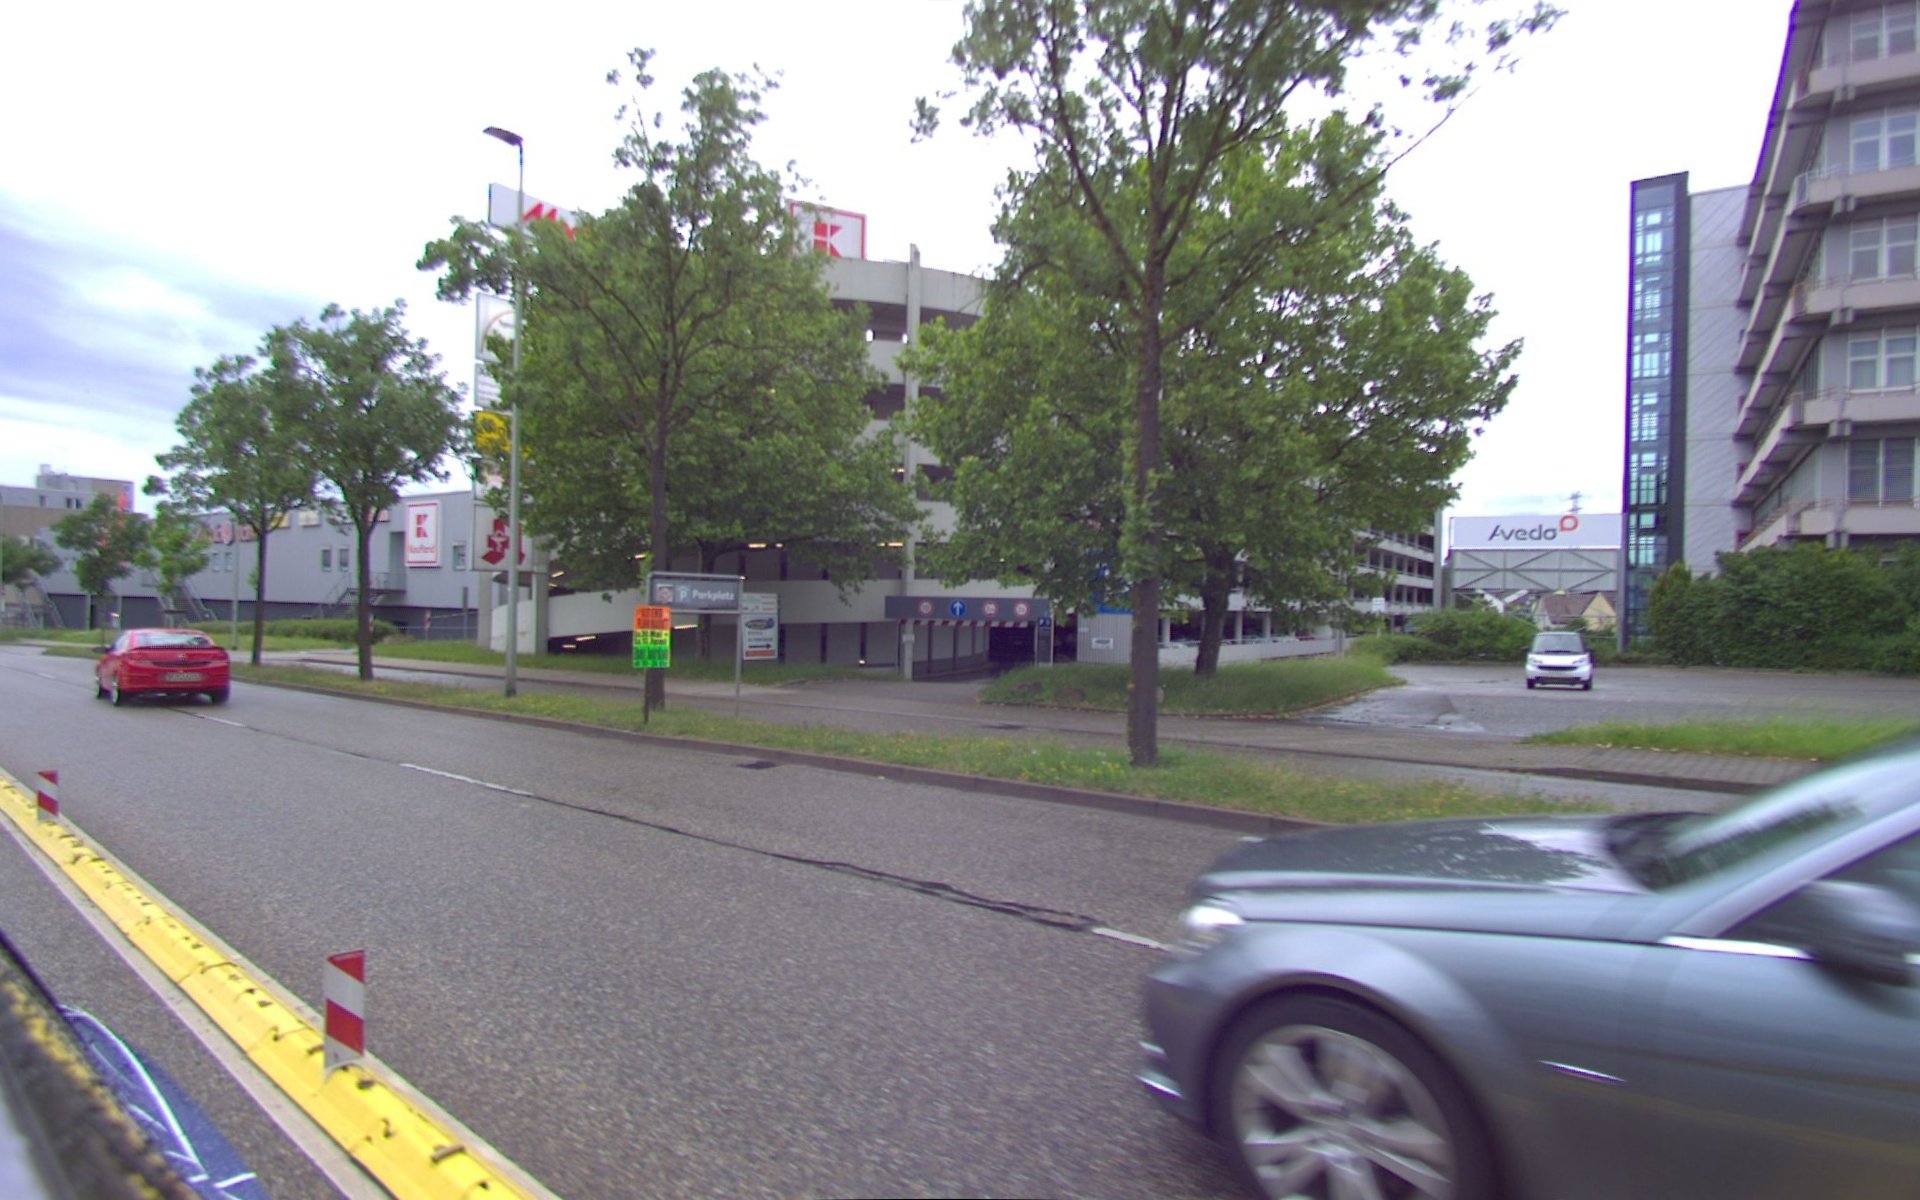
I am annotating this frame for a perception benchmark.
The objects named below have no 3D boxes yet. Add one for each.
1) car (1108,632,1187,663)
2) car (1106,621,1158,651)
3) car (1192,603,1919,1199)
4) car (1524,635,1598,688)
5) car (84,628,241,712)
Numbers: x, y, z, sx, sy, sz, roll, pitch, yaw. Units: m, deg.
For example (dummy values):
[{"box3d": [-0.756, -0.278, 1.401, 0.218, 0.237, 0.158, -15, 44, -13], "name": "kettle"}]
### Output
[{"box3d": [10.016, 2.520, 54.233, 3.787, 1.473, 1.754, -1, 1, -3], "name": "car"}, {"box3d": [10.903, 2.223, 64.023, 1.855, 1.708, 3.956, -1, 0, 33], "name": "car"}, {"box3d": [2.756, 0.747, 1.681, 4.376, 1.421, 1.649, -1, -4, 41], "name": "car"}, {"box3d": [16.308, 1.670, 27.516, 1.604, 1.376, 2.676, -3, -4, 30], "name": "car"}, {"box3d": [-15.538, 1.301, 19.644, 4.180, 1.436, 1.742, -1, -3, 43], "name": "car"}]
